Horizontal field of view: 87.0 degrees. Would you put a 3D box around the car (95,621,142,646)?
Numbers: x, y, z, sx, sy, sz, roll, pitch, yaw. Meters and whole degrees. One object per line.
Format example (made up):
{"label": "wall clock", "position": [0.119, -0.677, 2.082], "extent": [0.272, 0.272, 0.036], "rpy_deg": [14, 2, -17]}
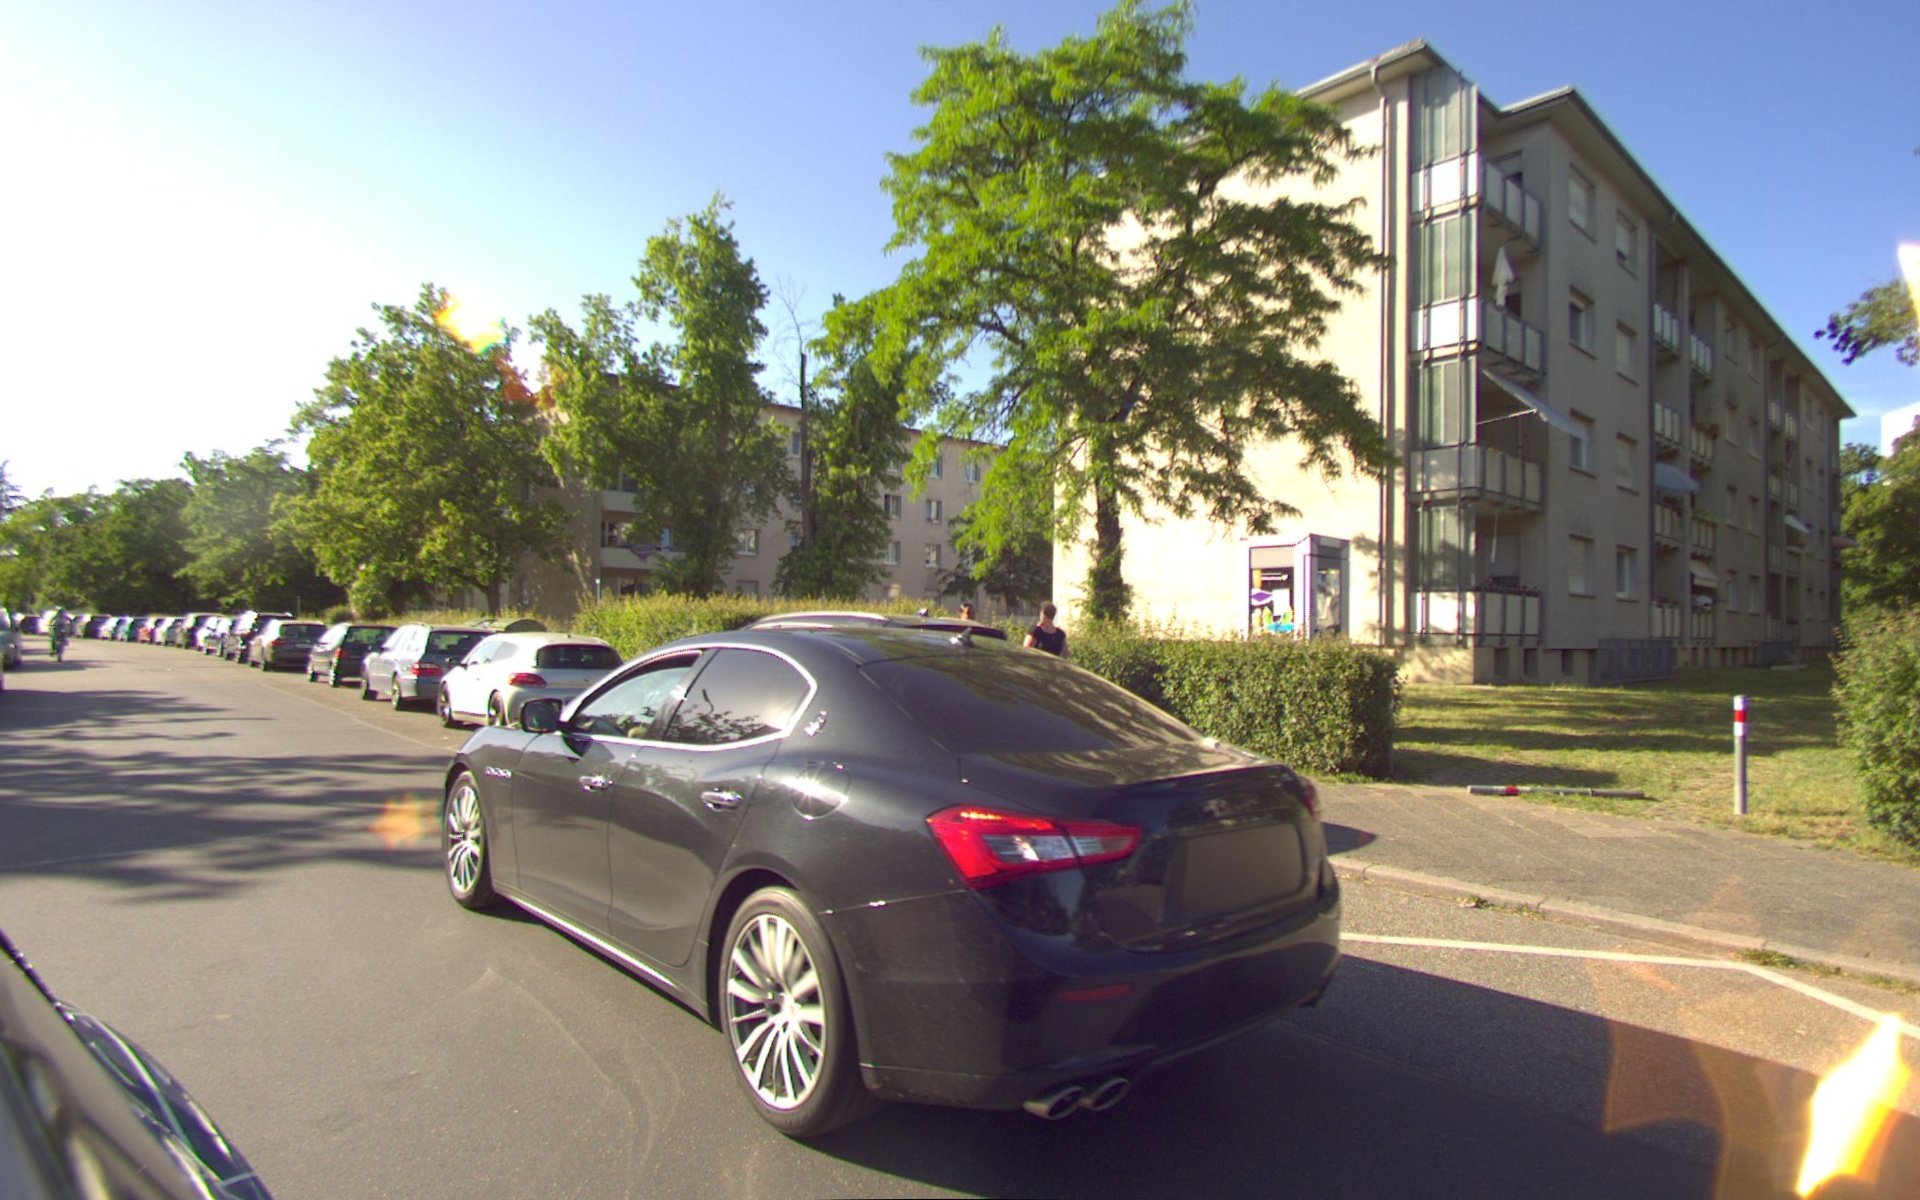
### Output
{"label": "car", "position": [-52.698, 2.112, 63.347], "extent": [3.733, 1.490, 1.636], "rpy_deg": [-1, -3, 41]}

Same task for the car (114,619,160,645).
{"label": "car", "position": [-48.704, 1.900, 59.885], "extent": [3.106, 1.490, 1.635], "rpy_deg": [-1, -4, 43]}

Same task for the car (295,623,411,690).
{"label": "car", "position": [-14.461, 1.307, 24.039], "extent": [1.629, 1.475, 3.499], "rpy_deg": [4, -4, -43]}

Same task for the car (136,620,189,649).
{"label": "car", "position": [-43.490, 1.865, 55.160], "extent": [3.880, 1.490, 1.613], "rpy_deg": [-1, -4, 43]}

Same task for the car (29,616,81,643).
{"label": "car", "position": [-67.628, 2.184, 75.605], "extent": [5.432, 1.883, 1.861], "rpy_deg": [-1, -3, 38]}

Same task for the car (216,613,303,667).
{"label": "car", "position": [-23.502, 1.340, 33.880], "extent": [1.733, 1.681, 4.394], "rpy_deg": [4, -4, -43]}

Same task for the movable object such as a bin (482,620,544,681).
{"label": "movable object such as a bin", "position": [-11.202, 1.241, 25.351], "extent": [0.990, 1.426, 1.327], "rpy_deg": [-2, 0, -44]}

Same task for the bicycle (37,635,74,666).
{"label": "bicycle", "position": [-28.511, 1.572, 31.935], "extent": [0.811, 0.908, 2.206], "rpy_deg": [1, -2, -41]}

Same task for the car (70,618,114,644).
{"label": "car", "position": [-58.339, 2.089, 67.991], "extent": [4.071, 1.643, 1.636], "rpy_deg": [-1, -4, 42]}

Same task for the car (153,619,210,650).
{"label": "car", "position": [-39.760, 1.730, 51.662], "extent": [1.785, 1.490, 3.943], "rpy_deg": [4, -4, -45]}

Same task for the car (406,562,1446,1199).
{"label": "car", "position": [-0.672, 0.742, 4.298], "extent": [1.887, 1.488, 4.576], "rpy_deg": [3, -3, -42]}

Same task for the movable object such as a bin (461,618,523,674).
{"label": "movable object such as a bin", "position": [-12.270, 1.184, 26.508], "extent": [1.106, 1.376, 1.258], "rpy_deg": [-2, 0, -44]}

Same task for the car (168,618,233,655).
{"label": "car", "position": [-35.091, 1.662, 46.708], "extent": [1.785, 1.618, 4.436], "rpy_deg": [4, -4, -44]}

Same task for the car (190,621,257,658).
{"label": "car", "position": [-30.922, 1.649, 42.462], "extent": [1.733, 1.448, 4.155], "rpy_deg": [4, -4, -43]}

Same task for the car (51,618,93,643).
{"label": "car", "position": [-63.025, 2.166, 71.816], "extent": [3.687, 1.643, 1.637], "rpy_deg": [-1, -3, 40]}

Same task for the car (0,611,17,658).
{"label": "car", "position": [-36.274, 1.274, 37.491], "extent": [4.415, 1.686, 1.734], "rpy_deg": [-1, -2, 44]}

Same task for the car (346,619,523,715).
{"label": "car", "position": [-9.658, 1.183, 18.392], "extent": [1.732, 1.501, 4.908], "rpy_deg": [6, -5, -40]}

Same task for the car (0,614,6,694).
{"label": "car", "position": [-18.700, 1.016, 18.353], "extent": [1.808, 1.558, 4.647], "rpy_deg": [1, -2, -41]}

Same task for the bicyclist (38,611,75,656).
{"label": "bicyclist", "position": [-28.419, 1.048, 31.850], "extent": [0.800, 1.366, 1.093], "rpy_deg": [1, -2, -41]}

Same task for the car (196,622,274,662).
{"label": "car", "position": [-27.085, 1.537, 37.755], "extent": [4.172, 1.396, 1.619], "rpy_deg": [-1, -4, 44]}

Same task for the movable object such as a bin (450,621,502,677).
{"label": "movable object such as a bin", "position": [-13.220, 1.315, 27.620], "extent": [0.884, 1.426, 1.327], "rpy_deg": [-2, 0, -44]}

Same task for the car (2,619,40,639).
{"label": "car", "position": [-77.068, 2.359, 83.065], "extent": [3.684, 1.579, 1.638], "rpy_deg": [-1, -3, 37]}

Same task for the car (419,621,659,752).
{"label": "car", "position": [-5.792, 1.071, 13.629], "extent": [1.732, 1.435, 4.217], "rpy_deg": [5, -3, -40]}

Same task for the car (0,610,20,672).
{"label": "car", "position": [-27.258, 1.104, 27.943], "extent": [1.732, 1.639, 4.501], "rpy_deg": [1, -2, -41]}

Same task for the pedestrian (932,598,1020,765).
{"label": "pedestrian", "position": [0.175, 0.841, 10.787], "extent": [0.712, 1.692, 0.617], "rpy_deg": [2, -2, -42]}

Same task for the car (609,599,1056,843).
{"label": "car", "position": [-1.360, 0.899, 9.070], "extent": [1.733, 1.648, 4.375], "rpy_deg": [5, -4, -42]}

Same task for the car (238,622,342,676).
{"label": "car", "position": [-19.668, 1.393, 29.622], "extent": [1.733, 1.396, 4.679], "rpy_deg": [4, -3, -43]}

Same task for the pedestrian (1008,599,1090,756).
{"label": "pedestrian", "position": [1.002, 0.846, 11.395], "extent": [0.712, 1.692, 0.600], "rpy_deg": [2, -2, -42]}
